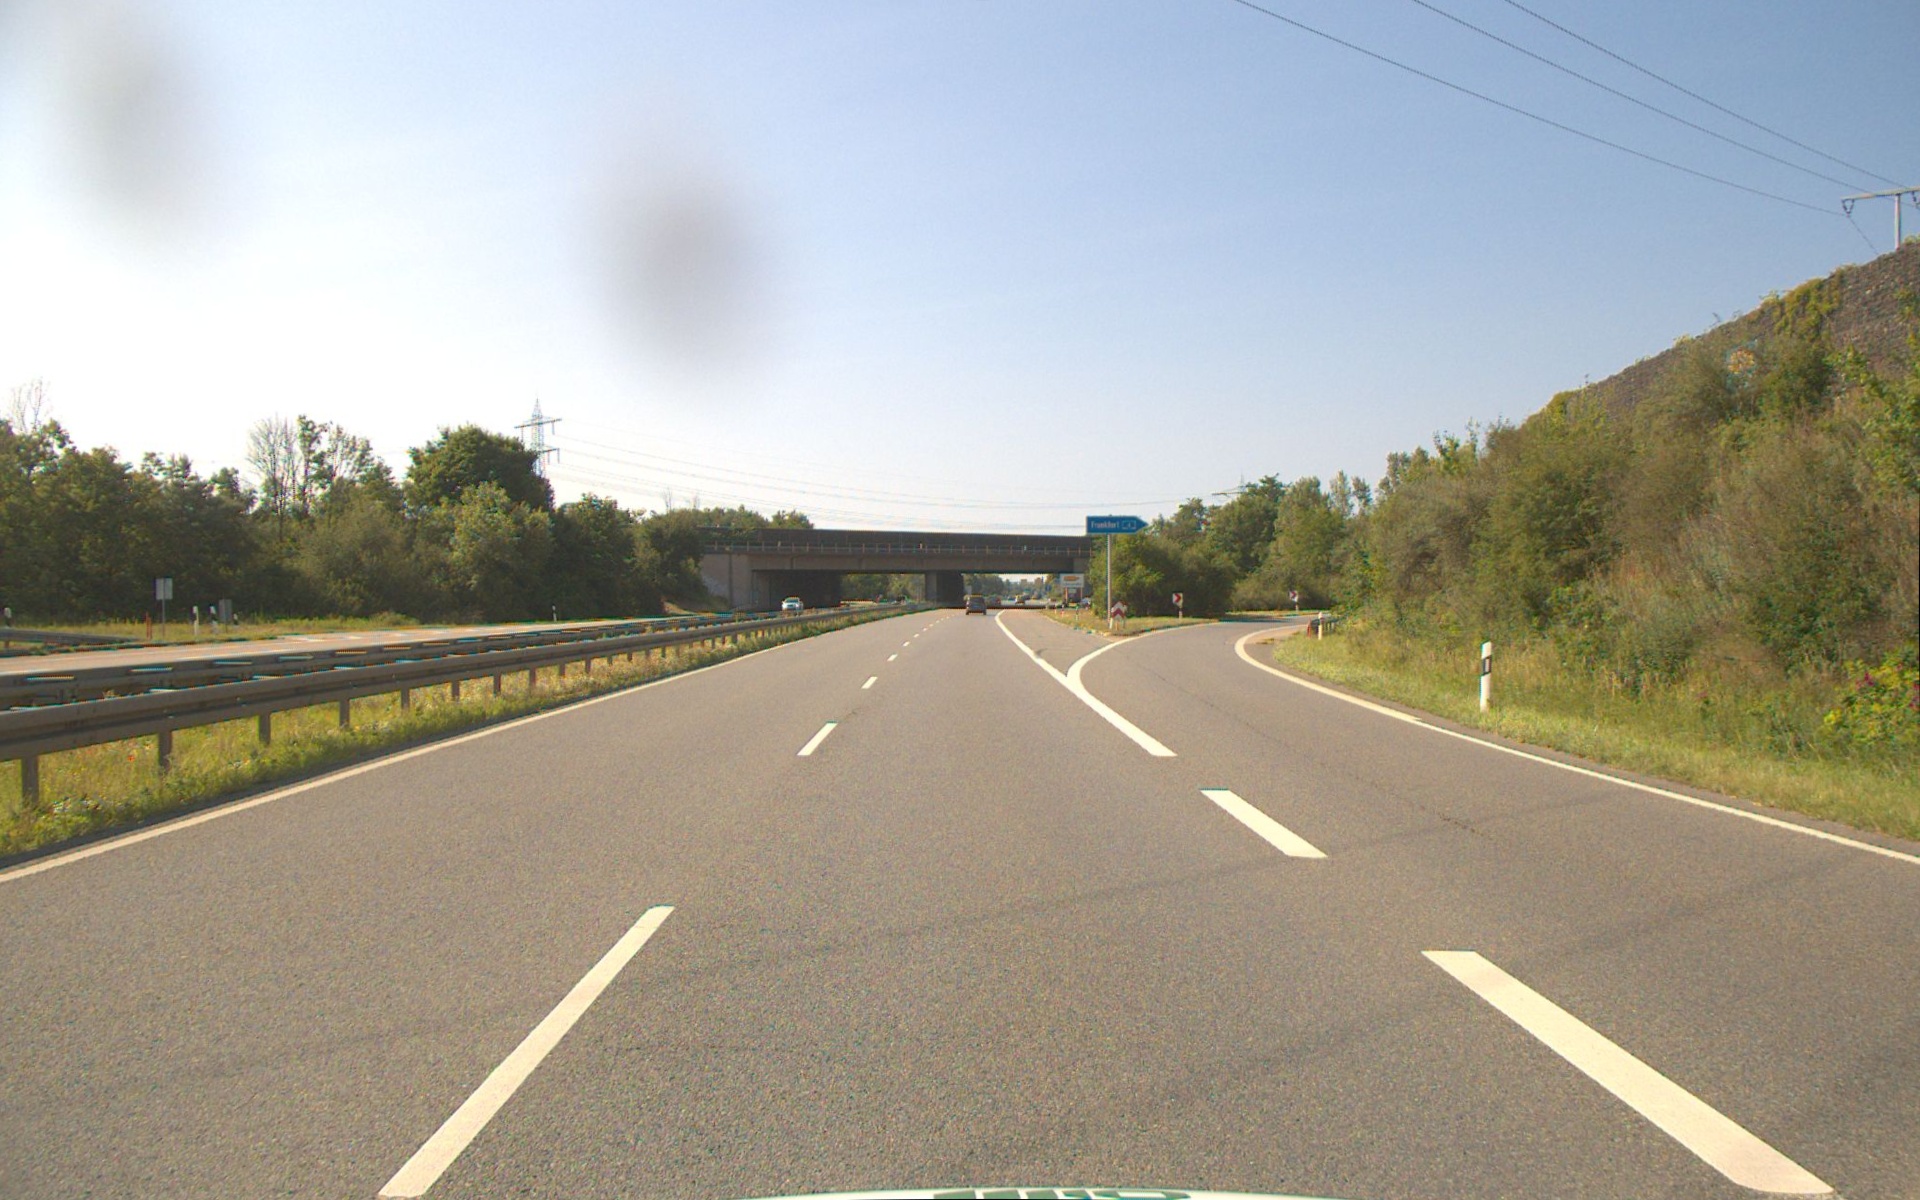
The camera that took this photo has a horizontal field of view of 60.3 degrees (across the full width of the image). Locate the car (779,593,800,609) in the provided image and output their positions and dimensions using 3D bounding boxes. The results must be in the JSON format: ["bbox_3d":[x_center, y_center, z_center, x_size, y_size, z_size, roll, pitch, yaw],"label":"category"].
[{"bbox_3d":[-16.421,0.087,159.495,1.640,1.434,3.763,1,0,0],"label":"car"}]

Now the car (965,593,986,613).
[{"bbox_3d":[1.346,0.284,143.362,1.811,1.673,4.001,1,0,1],"label":"car"}]

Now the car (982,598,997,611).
[{"bbox_3d":[3.645,0.553,206.202,1.811,1.673,4.001,1,0,1],"label":"car"}]
